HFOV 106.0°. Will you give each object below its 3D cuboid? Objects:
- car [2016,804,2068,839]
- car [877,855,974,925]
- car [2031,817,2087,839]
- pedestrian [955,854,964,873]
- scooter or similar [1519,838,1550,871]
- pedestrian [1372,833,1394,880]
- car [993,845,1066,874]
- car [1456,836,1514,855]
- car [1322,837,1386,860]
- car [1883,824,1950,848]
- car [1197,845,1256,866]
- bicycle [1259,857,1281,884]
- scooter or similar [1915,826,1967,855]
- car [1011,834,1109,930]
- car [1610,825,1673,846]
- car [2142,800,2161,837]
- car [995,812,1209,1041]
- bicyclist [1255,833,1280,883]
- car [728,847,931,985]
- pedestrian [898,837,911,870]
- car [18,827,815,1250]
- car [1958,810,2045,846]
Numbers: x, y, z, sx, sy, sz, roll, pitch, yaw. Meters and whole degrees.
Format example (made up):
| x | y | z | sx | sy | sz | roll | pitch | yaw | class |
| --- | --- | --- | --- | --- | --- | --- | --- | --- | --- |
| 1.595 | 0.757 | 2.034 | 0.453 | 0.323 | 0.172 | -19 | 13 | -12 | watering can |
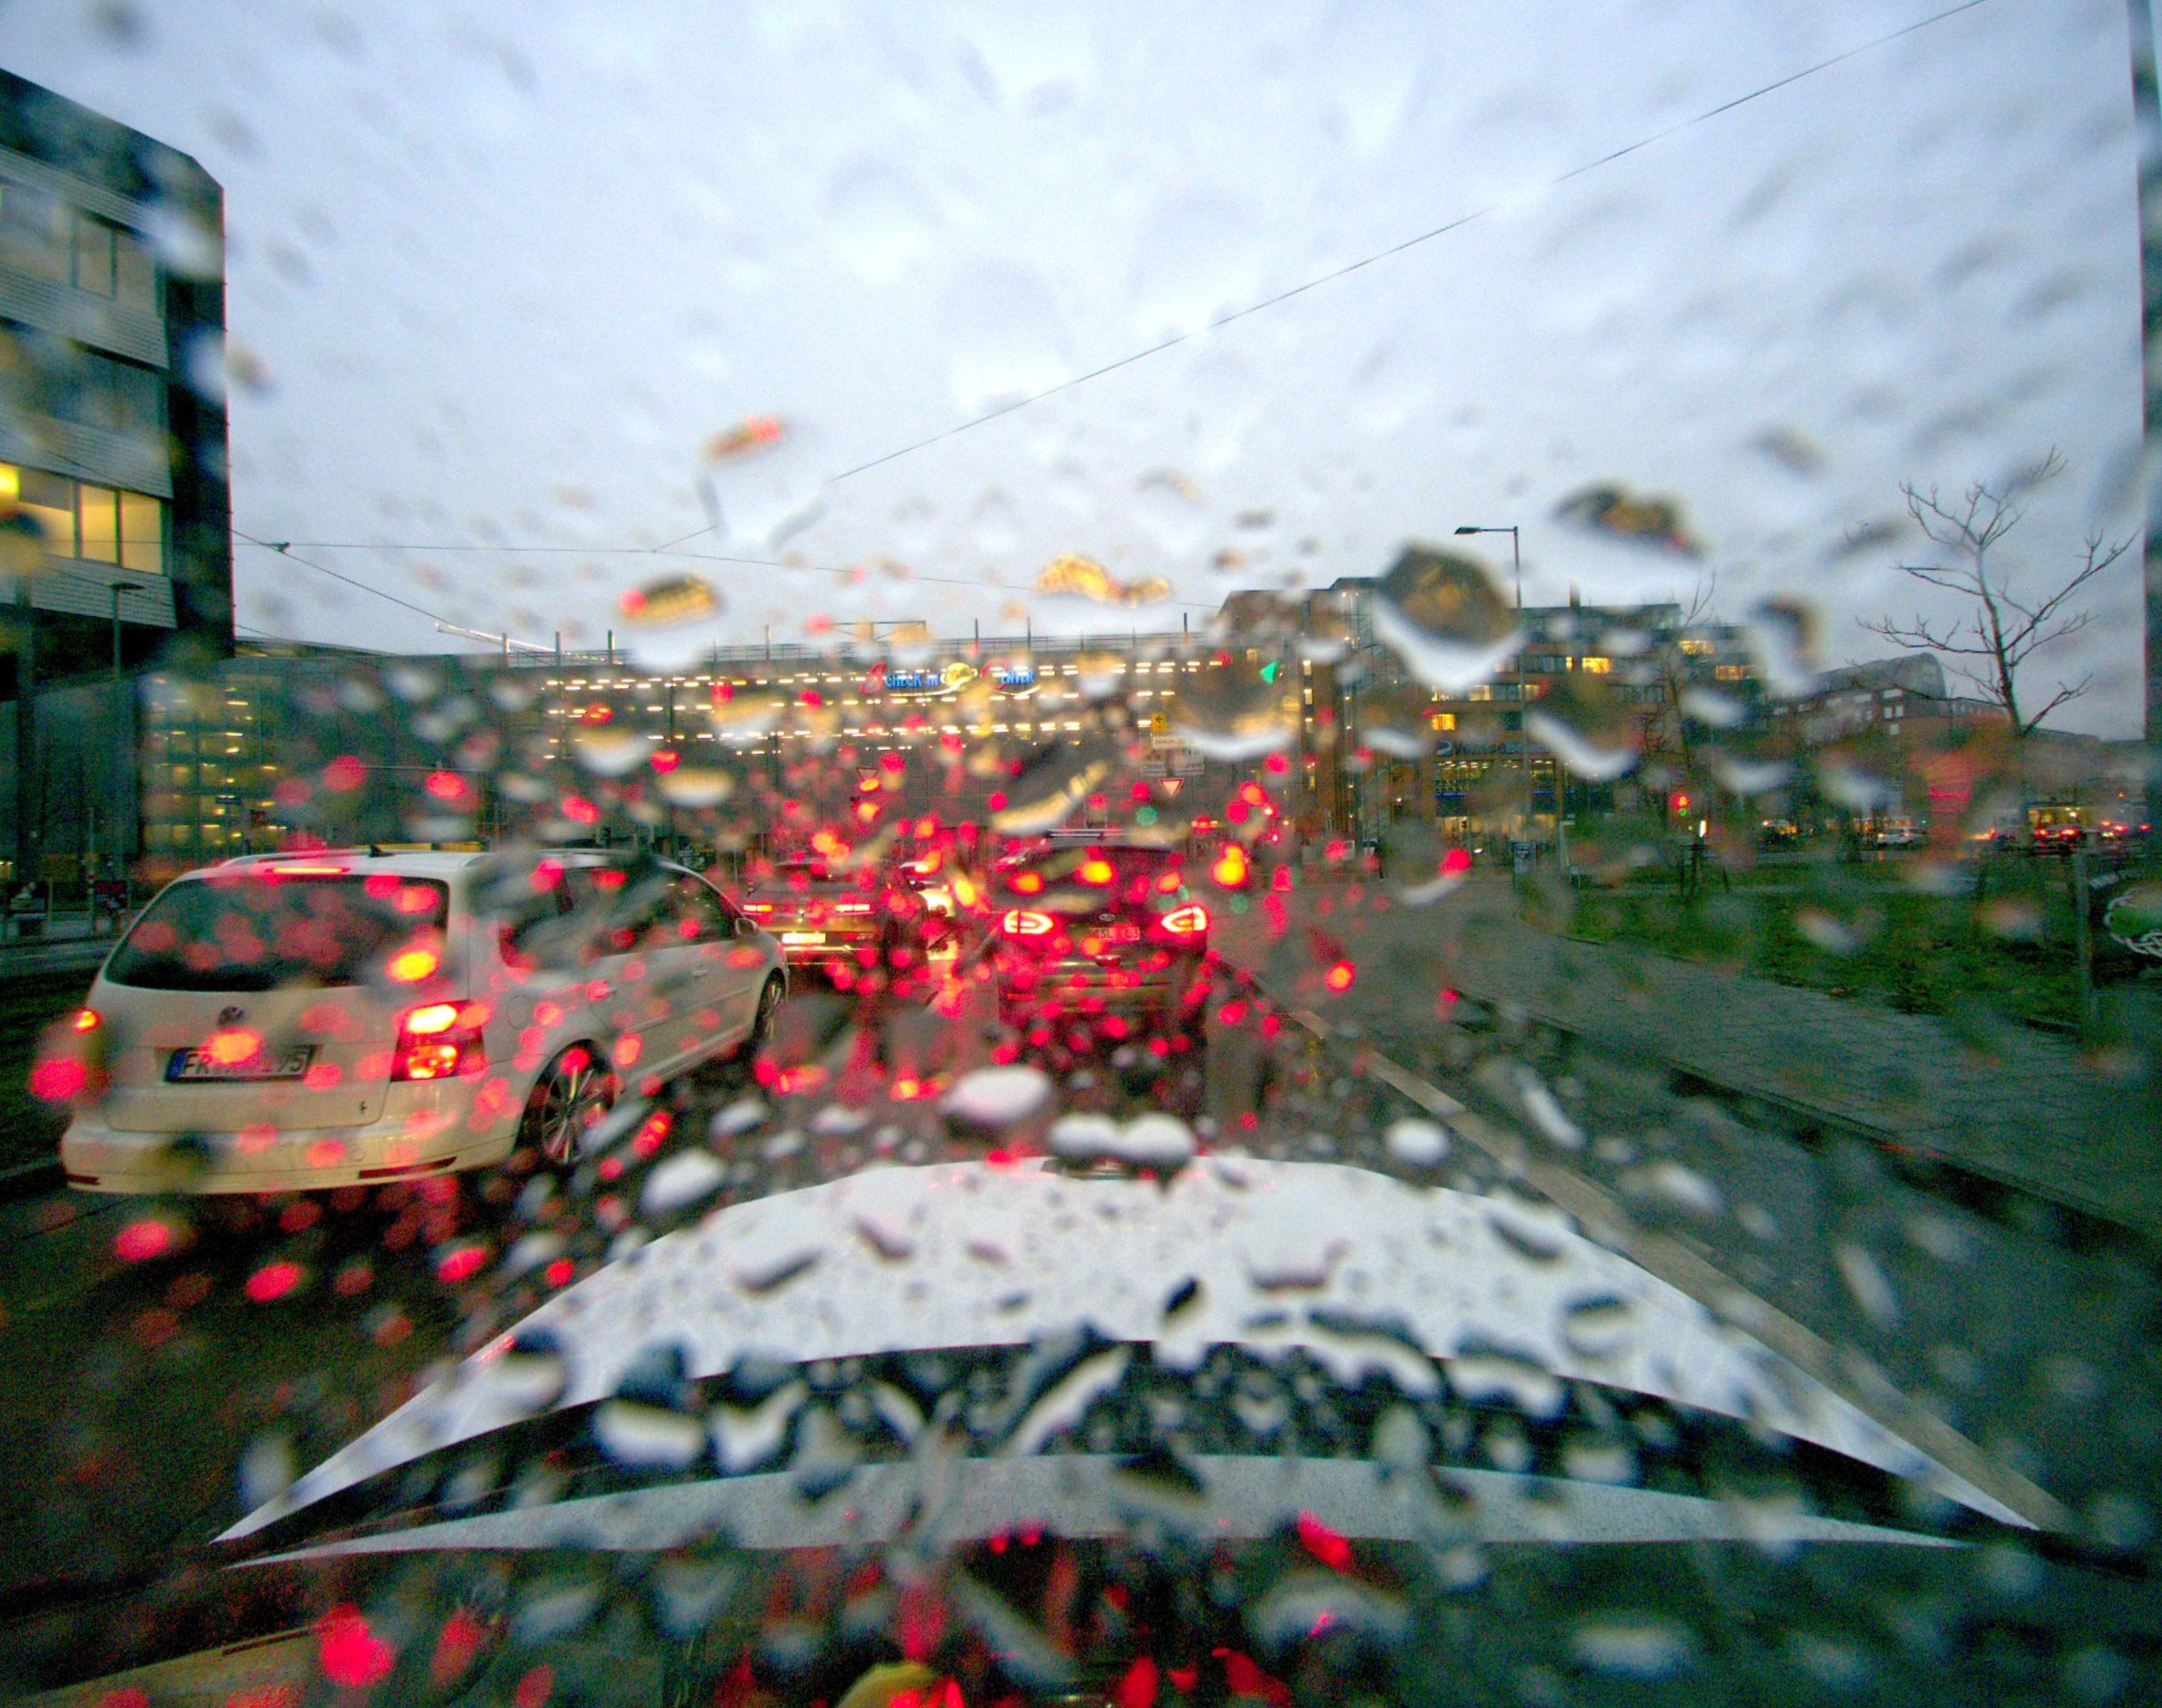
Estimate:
| x | y | z | sx | sy | sz | roll | pitch | yaw | class |
| --- | --- | --- | --- | --- | --- | --- | --- | --- | --- |
| 84.274 | -2.826 | 71.391 | 6.385 | 2.827 | 2.337 | -1 | 0 | -35 | car |
| -3.600 | 0.780 | 19.503 | 1.754 | 1.463 | 3.912 | -1 | 0 | -4 | car |
| 71.544 | -1.910 | 59.581 | 3.470 | 1.520 | 1.513 | -1 | 0 | -19 | car |
| -11.521 | 0.899 | 77.157 | 0.786 | 1.787 | 0.732 | -2 | 0 | -3 | pedestrian |
| 16.954 | 0.018 | 30.432 | 1.312 | 1.206 | 0.331 | -2 | 0 | -27 | scooter or similar |
| 12.315 | 0.084 | 33.201 | 0.766 | 1.877 | 0.639 | -2 | 0 | 24 | pedestrian |
| -3.673 | 0.368 | 58.662 | 4.984 | 1.871 | 1.884 | -2 | 0 | -35 | car |
| 34.193 | -0.706 | 68.965 | 4.417 | 1.444 | 1.621 | -2 | 0 | -15 | car |
| 22.286 | -0.430 | 66.451 | 4.634 | 1.677 | 1.781 | -2 | 0 | -8 | car |
| 56.487 | -1.206 | 55.095 | 3.681 | 1.496 | 1.635 | -2 | 0 | -17 | car |
| 11.733 | 0.119 | 65.851 | 4.320 | 1.486 | 1.863 | -2 | 0 | -5 | car |
| 7.346 | 0.624 | 31.736 | 0.651 | 0.973 | 1.870 | -2 | 0 | 8 | bicycle |
| 36.416 | -0.571 | 34.496 | 1.548 | 1.227 | 0.669 | 0 | -1 | -4 | scooter or similar |
| -0.486 | 0.535 | 17.938 | 1.839 | 1.806 | 4.483 | -2 | 0 | -2 | car |
| 49.571 | -1.644 | 72.029 | 4.596 | 1.719 | 1.922 | -2 | 0 | -11 | car |
| 87.477 | -2.877 | 64.459 | 6.356 | 2.827 | 2.348 | -1 | 0 | -19 | car |
| 0.216 | 0.564 | 8.344 | 1.668 | 1.779 | 4.001 | 0 | 0 | 1 | car |
| 7.257 | 0.145 | 31.681 | 0.786 | 1.890 | 0.991 | -2 | 0 | 7 | bicyclist |
| -3.365 | 0.735 | 11.812 | 1.817 | 1.570 | 4.355 | -2 | 0 | -4 | car |
| -15.859 | -0.069 | 73.172 | 0.959 | 2.925 | 1.114 | 0 | -1 | 1 | pedestrian |
| -3.253 | 0.706 | 5.257 | 1.666 | 1.599 | 4.222 | -1 | 0 | 0 | car |
| 64.912 | -1.837 | 57.432 | 5.975 | 2.427 | 1.986 | -2 | 0 | -20 | car |
